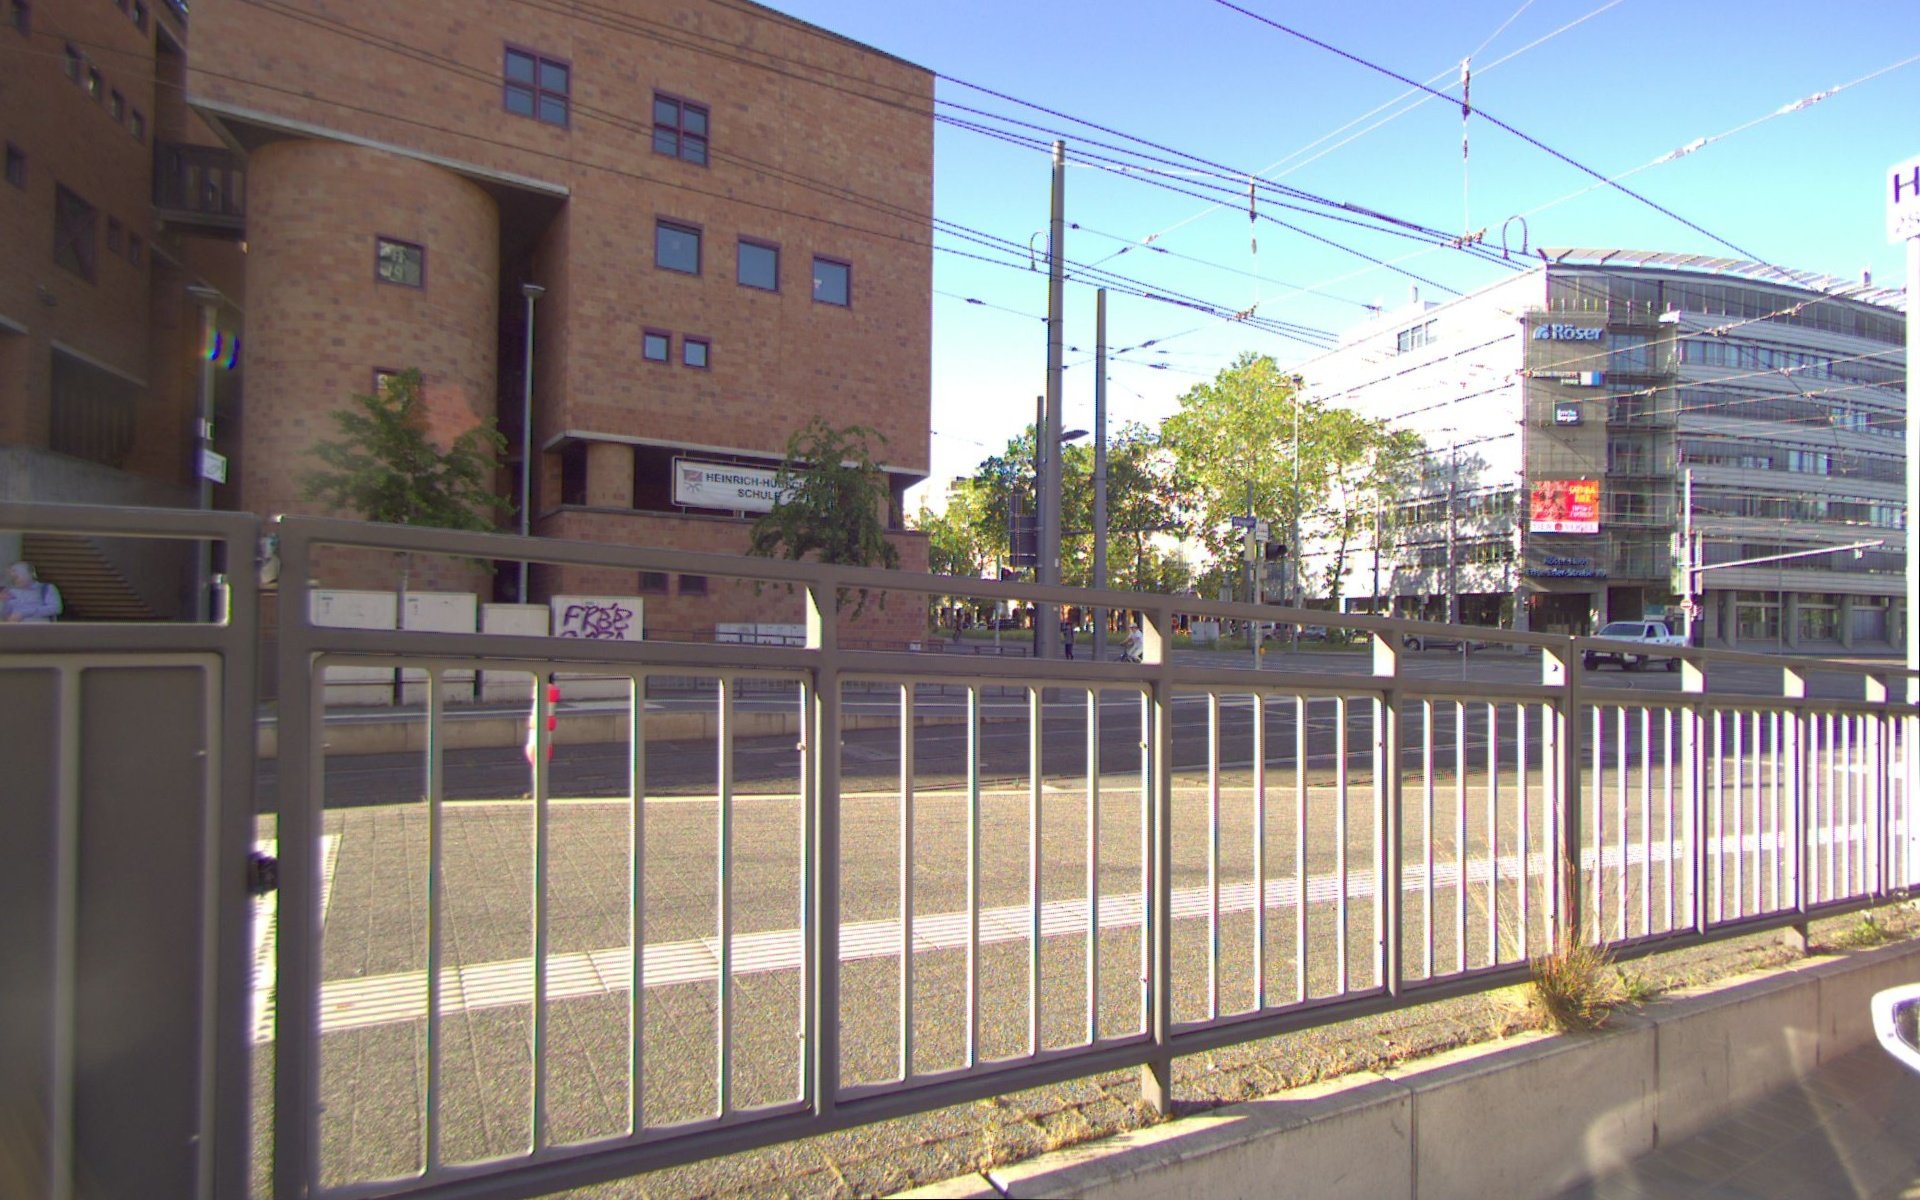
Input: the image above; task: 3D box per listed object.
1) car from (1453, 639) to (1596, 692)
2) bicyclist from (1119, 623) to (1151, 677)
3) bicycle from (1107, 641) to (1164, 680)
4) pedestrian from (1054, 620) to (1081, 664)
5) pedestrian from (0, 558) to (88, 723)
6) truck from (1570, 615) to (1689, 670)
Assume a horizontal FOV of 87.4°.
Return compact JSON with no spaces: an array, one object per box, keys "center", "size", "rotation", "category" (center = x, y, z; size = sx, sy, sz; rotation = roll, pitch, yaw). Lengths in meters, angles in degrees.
[{"center":[13.679,1.559,24.406],"size":[2.841,1.077,1.238],"rotation":[2,0,40],"category":"car"},{"center":[5.128,1.457,29.408],"size":[0.642,1.554,0.584],"rotation":[2,0,-30],"category":"bicyclist"},{"center":[5.134,1.761,29.364],"size":[1.793,1.104,0.458],"rotation":[2,-3,-30],"category":"bicycle"},{"center":[4.203,1.643,39.264],"size":[0.785,1.714,0.587],"rotation":[2,0,-29],"category":"pedestrian"},{"center":[-9.667,0.413,10.519],"size":[0.679,1.656,0.662],"rotation":[2,0,-34],"category":"pedestrian"},{"center":[24.776,1.630,37.128],"size":[5.106,1.904,1.980],"rotation":[3,-4,-36],"category":"truck"}]
